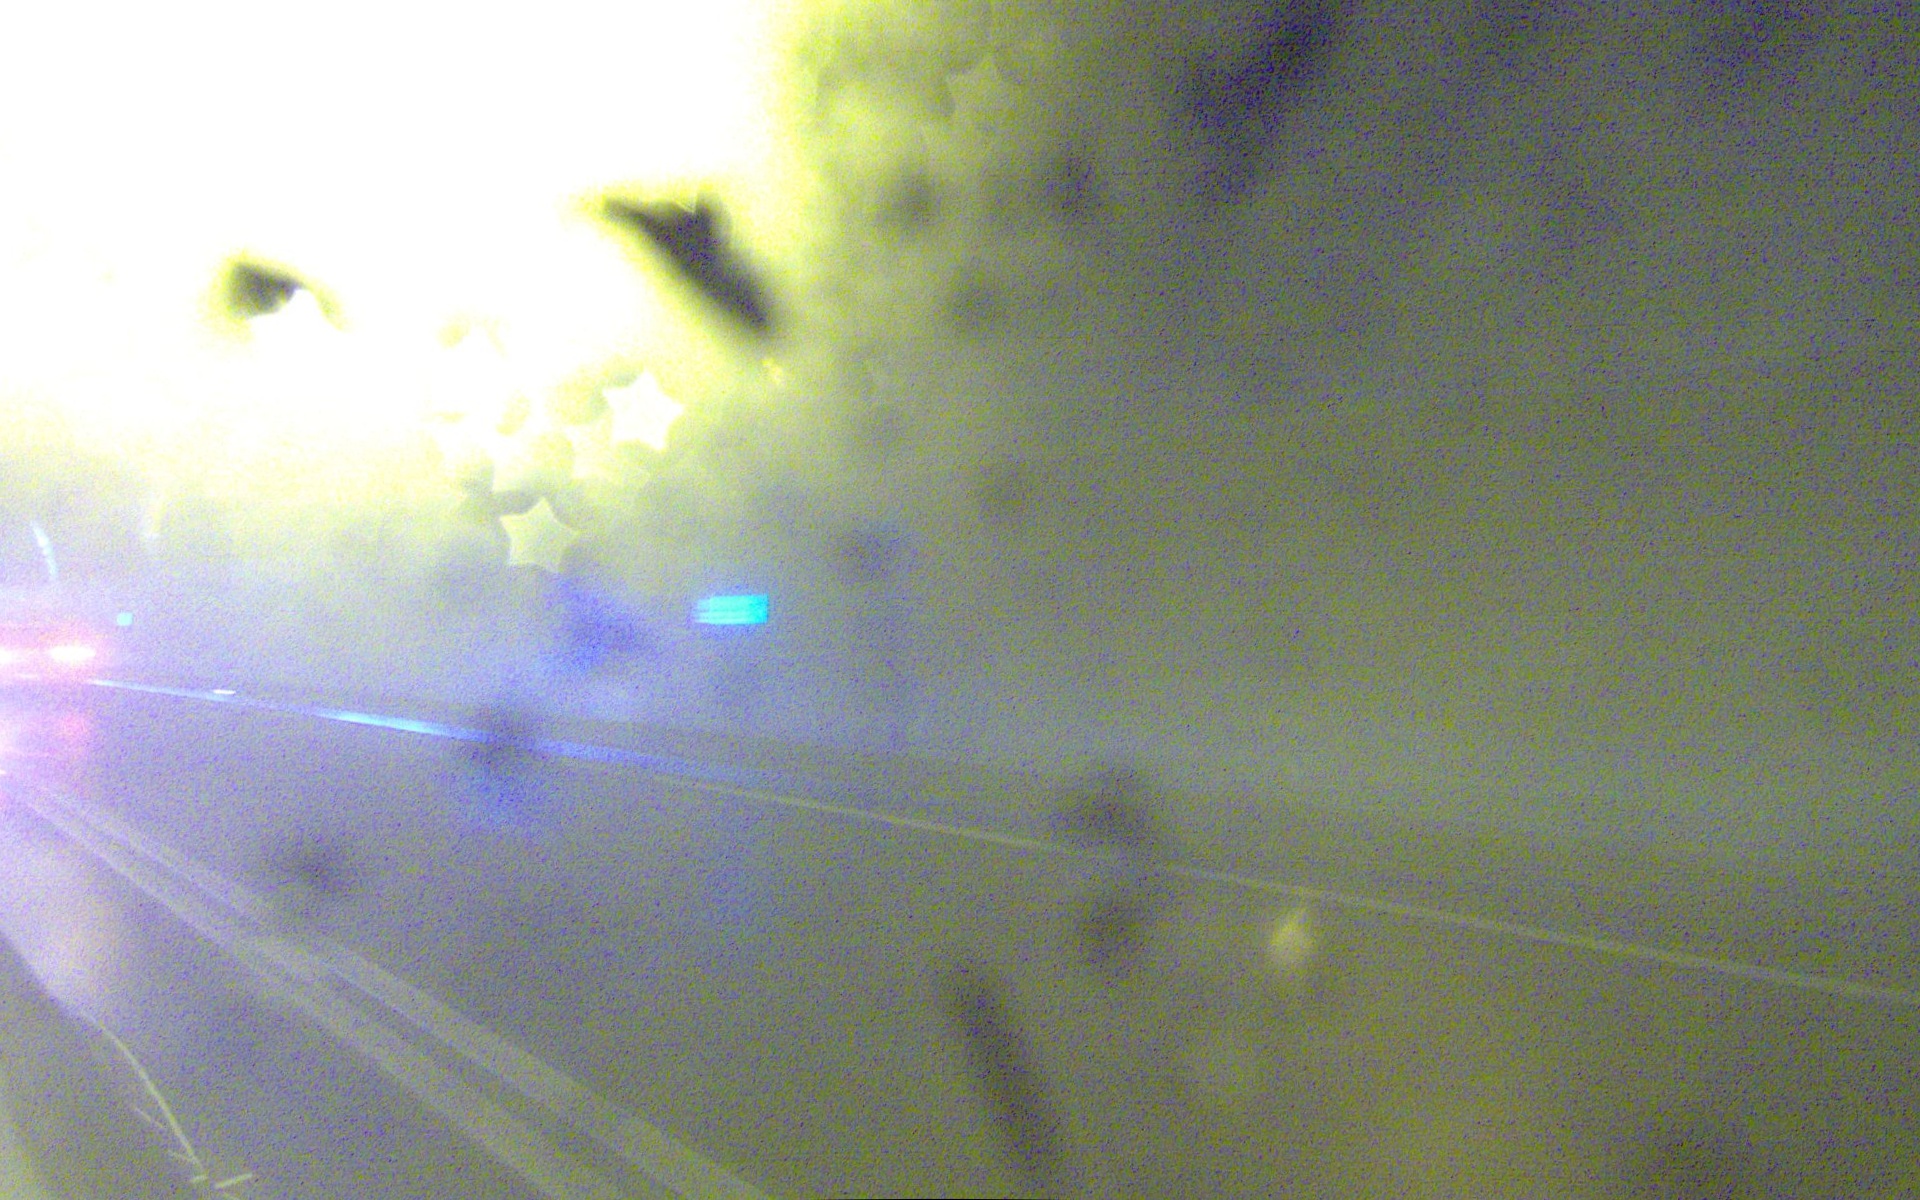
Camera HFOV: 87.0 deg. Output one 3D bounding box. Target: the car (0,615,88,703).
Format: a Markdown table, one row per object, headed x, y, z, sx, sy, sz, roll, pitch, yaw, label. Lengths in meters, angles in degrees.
| x | y | z | sx | sy | sz | roll | pitch | yaw | label |
| --- | --- | --- | --- | --- | --- | --- | --- | --- | --- |
| -17.543 | 1.047 | 18.646 | 3.933 | 1.458 | 1.609 | -1 | 0 | 40 | car |
